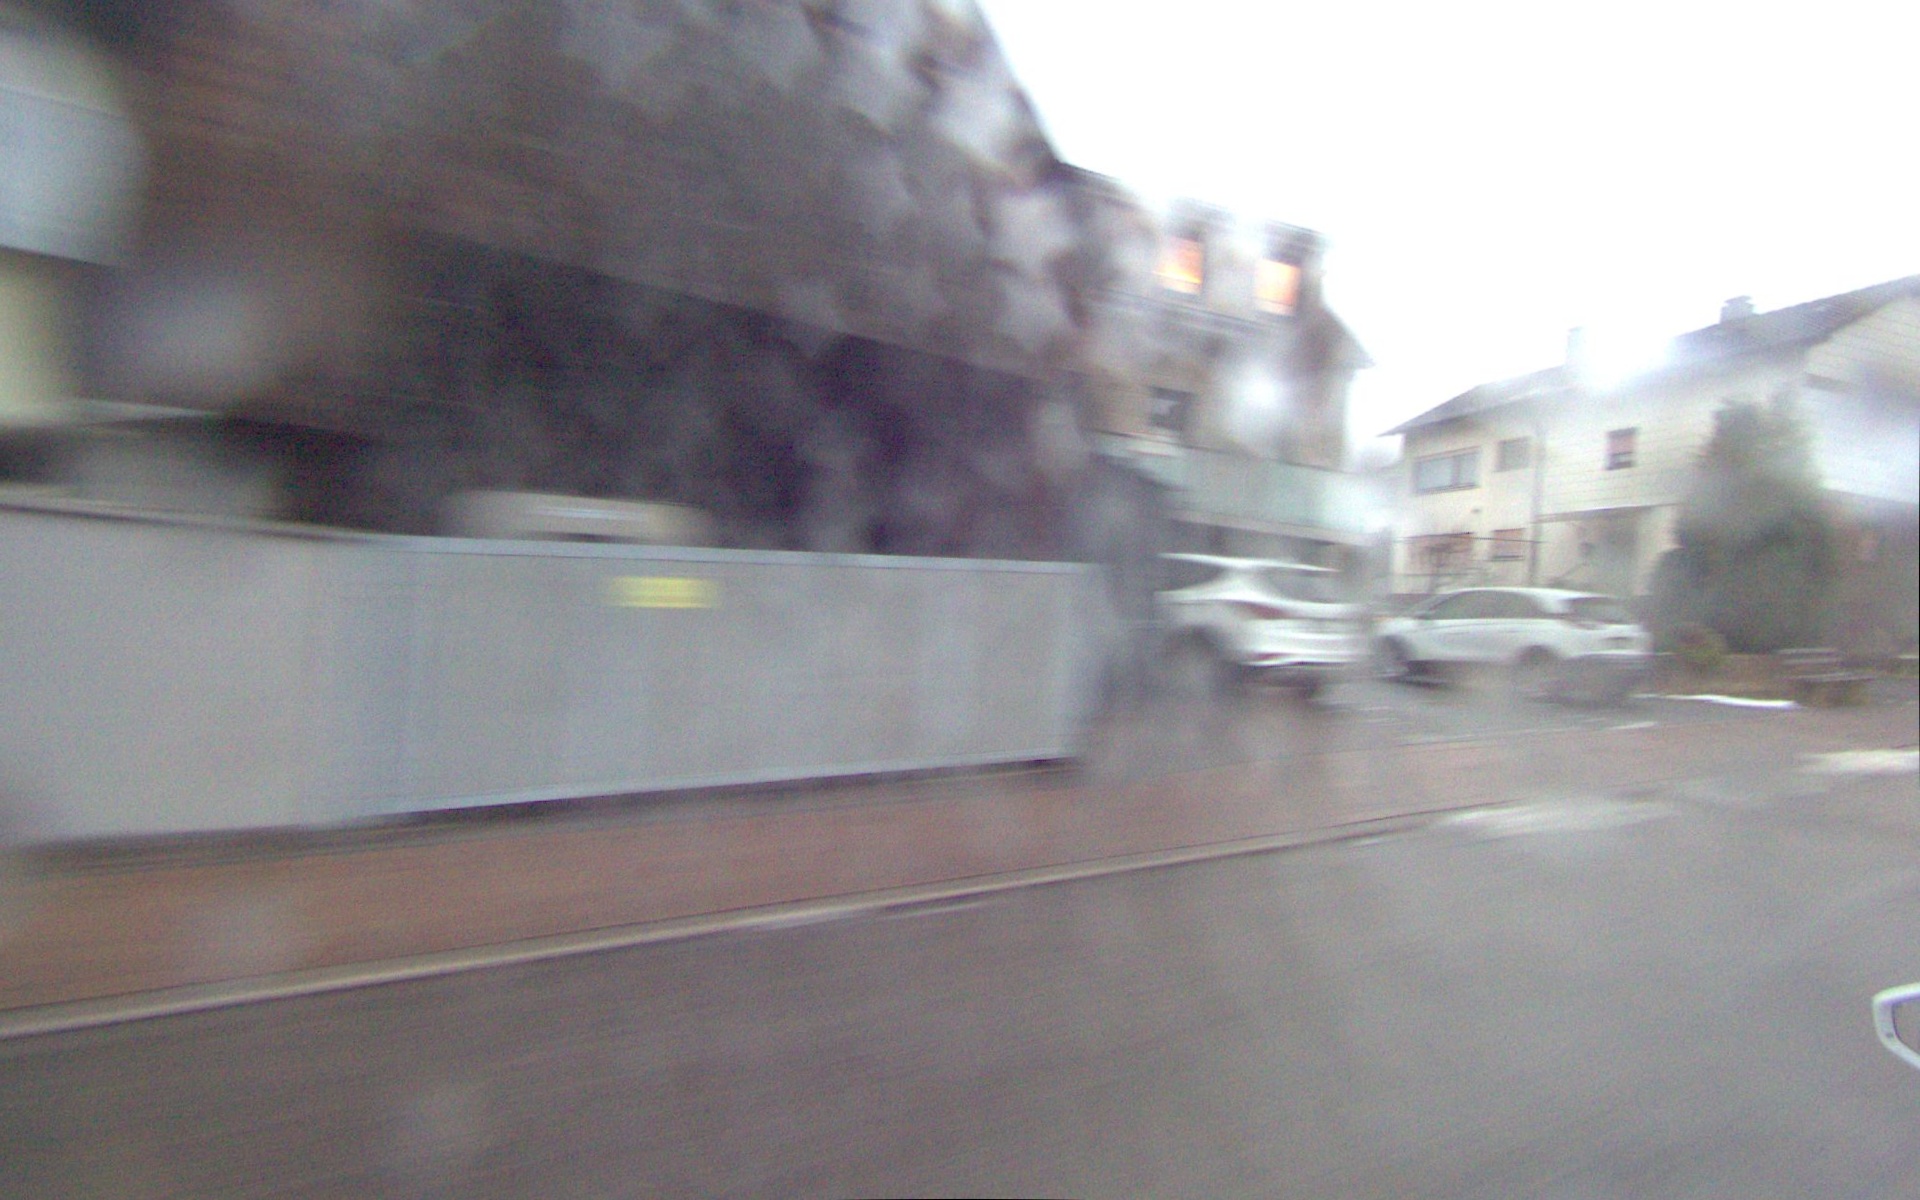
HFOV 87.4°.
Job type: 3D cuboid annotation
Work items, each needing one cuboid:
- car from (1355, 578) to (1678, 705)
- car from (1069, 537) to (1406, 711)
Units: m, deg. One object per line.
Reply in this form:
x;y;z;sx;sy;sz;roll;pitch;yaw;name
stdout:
8.336;0.525;15.451;1.863;1.639;3.974;1;1;-25;car
3.319;0.181;12.880;1.973;1.770;3.973;2;3;-25;car
